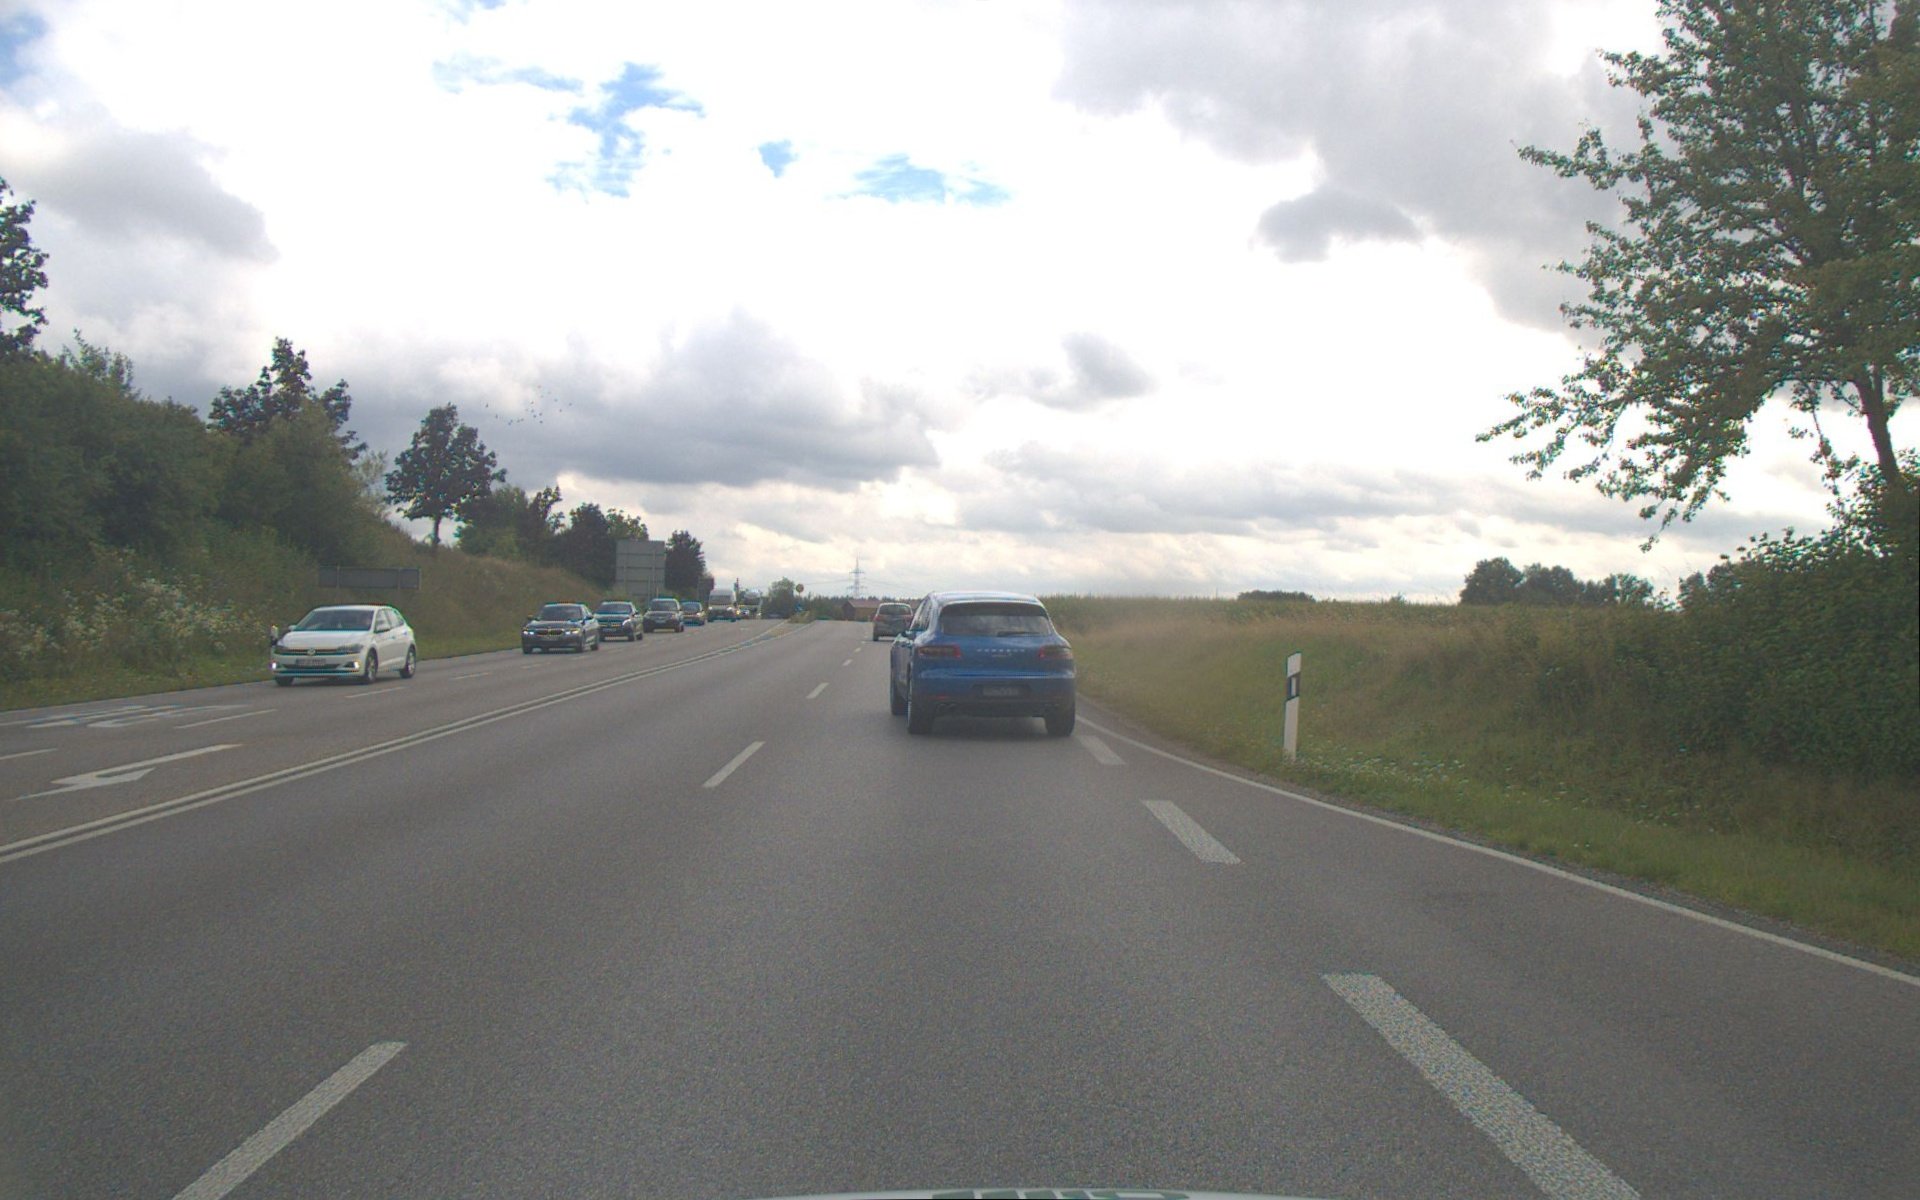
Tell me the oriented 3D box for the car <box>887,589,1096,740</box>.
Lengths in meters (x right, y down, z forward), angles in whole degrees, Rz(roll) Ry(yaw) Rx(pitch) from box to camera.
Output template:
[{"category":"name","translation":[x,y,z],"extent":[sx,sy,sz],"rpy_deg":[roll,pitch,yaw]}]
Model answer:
[{"category":"car","translation":[0.247,0.694,20.281],"extent":[1.955,1.598,4.749],"rpy_deg":[-1,0,-7]}]

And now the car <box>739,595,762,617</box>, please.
[{"category":"car","translation":[-21.763,0.606,171.571],"extent":[2.319,2.250,5.299],"rpy_deg":[0,0,-7]}]

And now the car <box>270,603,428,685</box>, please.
[{"category":"car","translation":[-11.604,0.789,31.667],"extent":[1.634,1.467,4.144],"rpy_deg":[0,0,-2]}]

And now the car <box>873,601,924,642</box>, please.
[{"category":"car","translation":[-2.480,0.818,65.934],"extent":[1.954,1.562,3.997],"rpy_deg":[1,0,-3]}]

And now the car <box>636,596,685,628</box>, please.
[{"category":"car","translation":[-15.079,0.591,83.517],"extent":[1.954,1.534,3.997],"rpy_deg":[0,0,-3]}]

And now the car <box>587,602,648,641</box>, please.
[{"category":"car","translation":[-13.574,0.829,65.760],"extent":[1.760,1.512,4.166],"rpy_deg":[0,0,-3]}]

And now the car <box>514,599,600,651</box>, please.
[{"category":"car","translation":[-12.283,0.728,50.666],"extent":[1.955,1.534,3.996],"rpy_deg":[0,0,-5]}]

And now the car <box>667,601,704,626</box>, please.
[{"category":"car","translation":[-17.375,0.818,104.768],"extent":[1.954,1.517,3.996],"rpy_deg":[0,0,-5]}]

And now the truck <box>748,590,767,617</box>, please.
[{"category":"truck","translation":[-28.866,0.484,235.346],"extent":[2.519,3.699,14.636],"rpy_deg":[0,0,-7]}]

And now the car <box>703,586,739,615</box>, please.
[{"category":"car","translation":[-18.591,0.032,128.989],"extent":[2.317,2.250,5.917],"rpy_deg":[0,0,-4]}]
